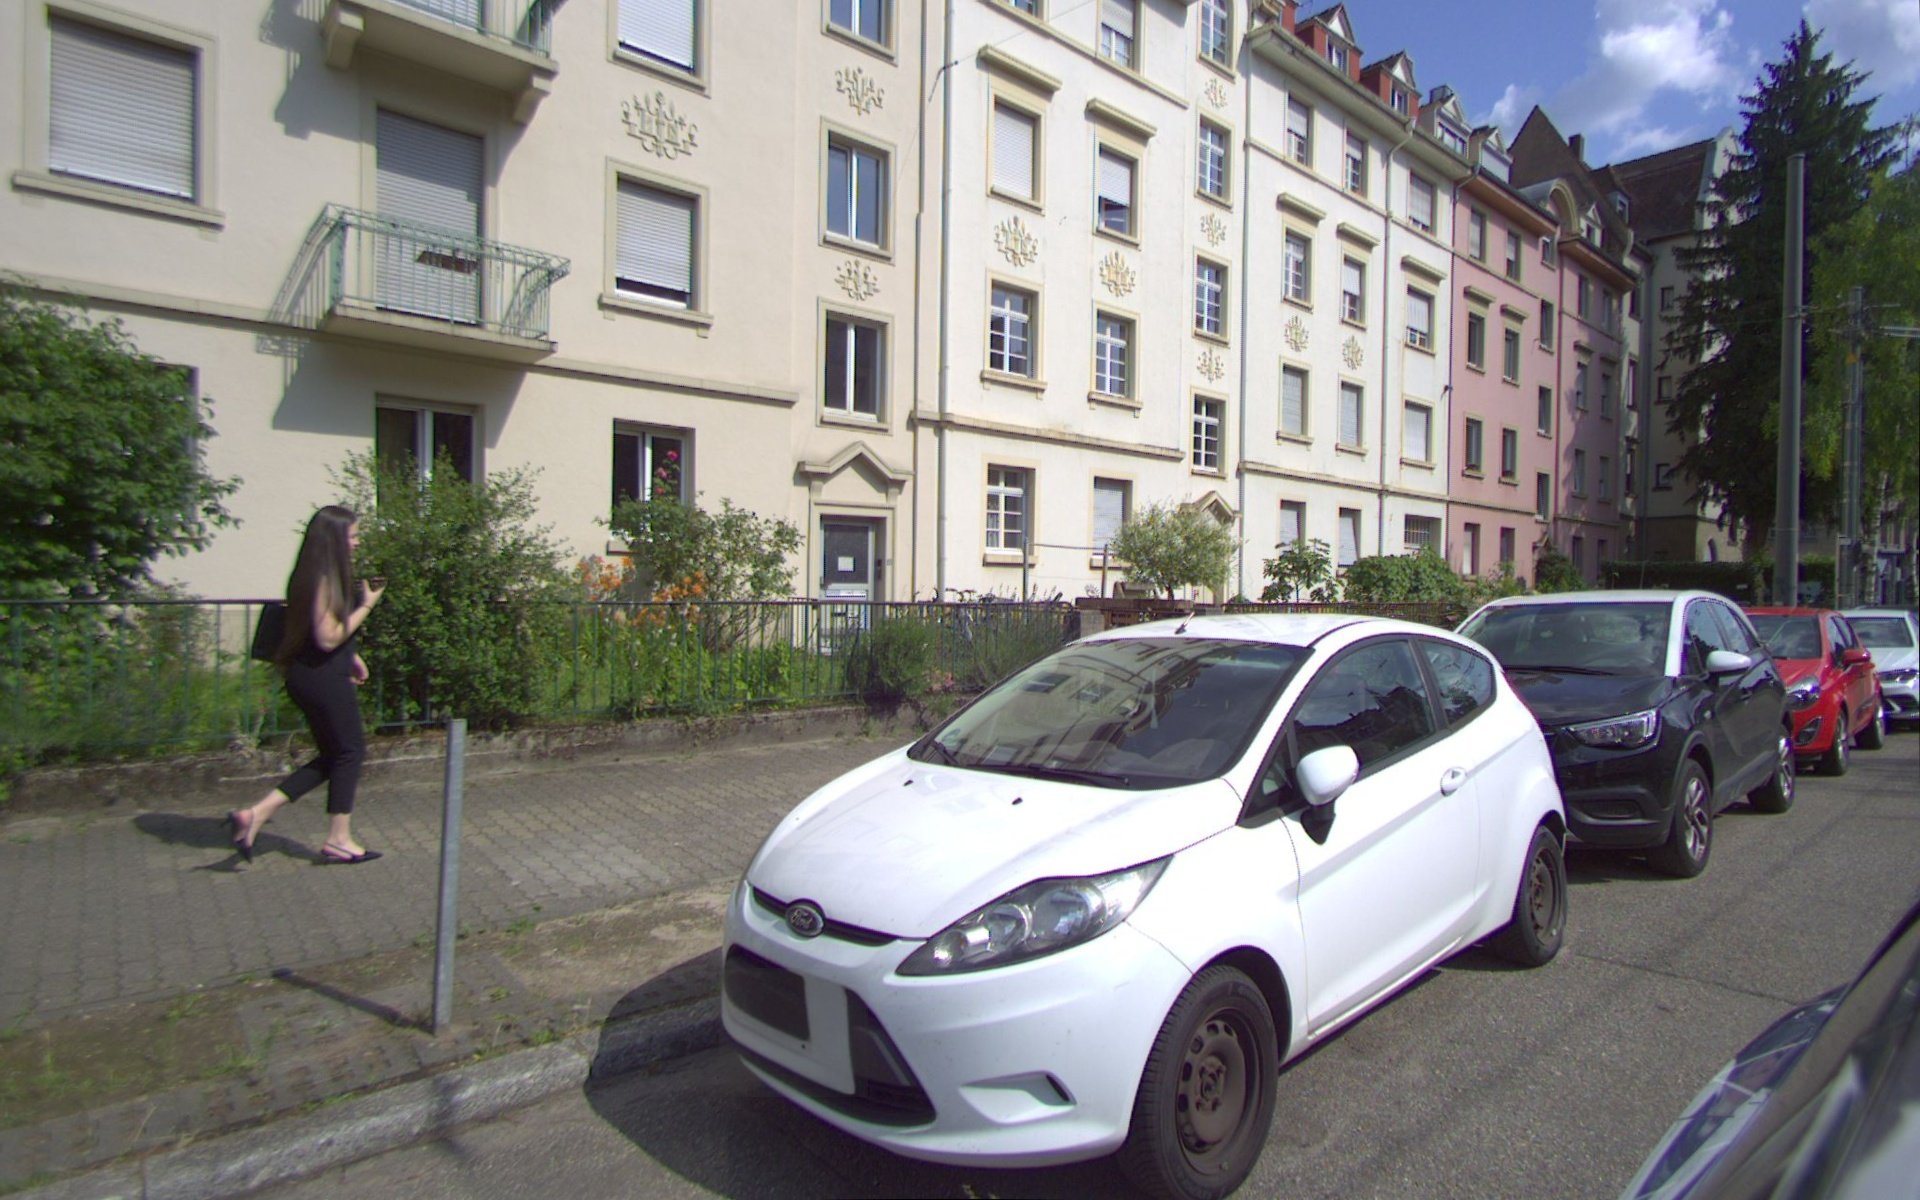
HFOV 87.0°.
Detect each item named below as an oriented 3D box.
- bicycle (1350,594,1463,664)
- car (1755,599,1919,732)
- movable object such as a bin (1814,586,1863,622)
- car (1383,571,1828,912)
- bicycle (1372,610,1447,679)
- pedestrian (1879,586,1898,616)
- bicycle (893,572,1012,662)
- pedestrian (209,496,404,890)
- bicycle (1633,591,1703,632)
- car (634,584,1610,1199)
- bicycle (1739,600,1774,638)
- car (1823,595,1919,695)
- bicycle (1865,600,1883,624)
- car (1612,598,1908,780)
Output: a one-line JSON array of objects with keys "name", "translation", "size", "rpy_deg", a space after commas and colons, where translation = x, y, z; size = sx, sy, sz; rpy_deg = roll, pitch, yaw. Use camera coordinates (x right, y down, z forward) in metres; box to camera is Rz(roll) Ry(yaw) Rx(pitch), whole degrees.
[{"name": "bicycle", "translation": [8.162, 0.503, 18.561], "size": [1.840, 1.197, 0.457], "rpy_deg": [2, 1, 43]}, {"name": "car", "translation": [11.713, 0.744, 12.989], "size": [3.850, 1.471, 1.622], "rpy_deg": [0, -2, -41]}, {"name": "movable object such as a bin", "translation": [39.082, 0.171, 45.019], "size": [1.964, 1.511, 1.305], "rpy_deg": [0, 1, -40]}, {"name": "car", "translation": [4.334, 0.669, 6.564], "size": [3.694, 1.599, 1.495], "rpy_deg": [0, -1, -42]}, {"name": "bicycle", "translation": [6.656, 0.636, 14.949], "size": [1.558, 0.950, 0.388], "rpy_deg": [0, 1, -41]}, {"name": "pedestrian", "translation": [59.500, 0.056, 64.868], "size": [0.731, 1.866, 0.797], "rpy_deg": [1, 1, 34]}, {"name": "bicycle", "translation": [-0.139, 0.223, 15.348], "size": [0.661, 1.267, 1.976], "rpy_deg": [0, 1, -41]}, {"name": "pedestrian", "translation": [-3.146, 0.382, 4.861], "size": [0.679, 1.703, 0.731], "rpy_deg": [0, 3, -41]}, {"name": "bicycle", "translation": [22.693, 0.356, 32.451], "size": [0.414, 1.235, 1.776], "rpy_deg": [0, 1, -41]}, {"name": "car", "translation": [0.901, 0.700, 3.846], "size": [3.730, 1.435, 1.675], "rpy_deg": [0, -1, -42]}, {"name": "bicycle", "translation": [22.978, 0.534, 29.171], "size": [1.747, 1.066, 0.420], "rpy_deg": [0, 1, -40]}, {"name": "car", "translation": [16.271, 0.694, 17.203], "size": [4.448, 1.540, 1.794], "rpy_deg": [0, -1, -41]}, {"name": "bicycle", "translation": [40.443, 0.513, 44.778], "size": [1.455, 1.034, 0.350], "rpy_deg": [0, 4, -42]}, {"name": "car", "translation": [8.055, 0.747, 10.079], "size": [3.777, 1.471, 1.591], "rpy_deg": [0, -2, -41]}]
